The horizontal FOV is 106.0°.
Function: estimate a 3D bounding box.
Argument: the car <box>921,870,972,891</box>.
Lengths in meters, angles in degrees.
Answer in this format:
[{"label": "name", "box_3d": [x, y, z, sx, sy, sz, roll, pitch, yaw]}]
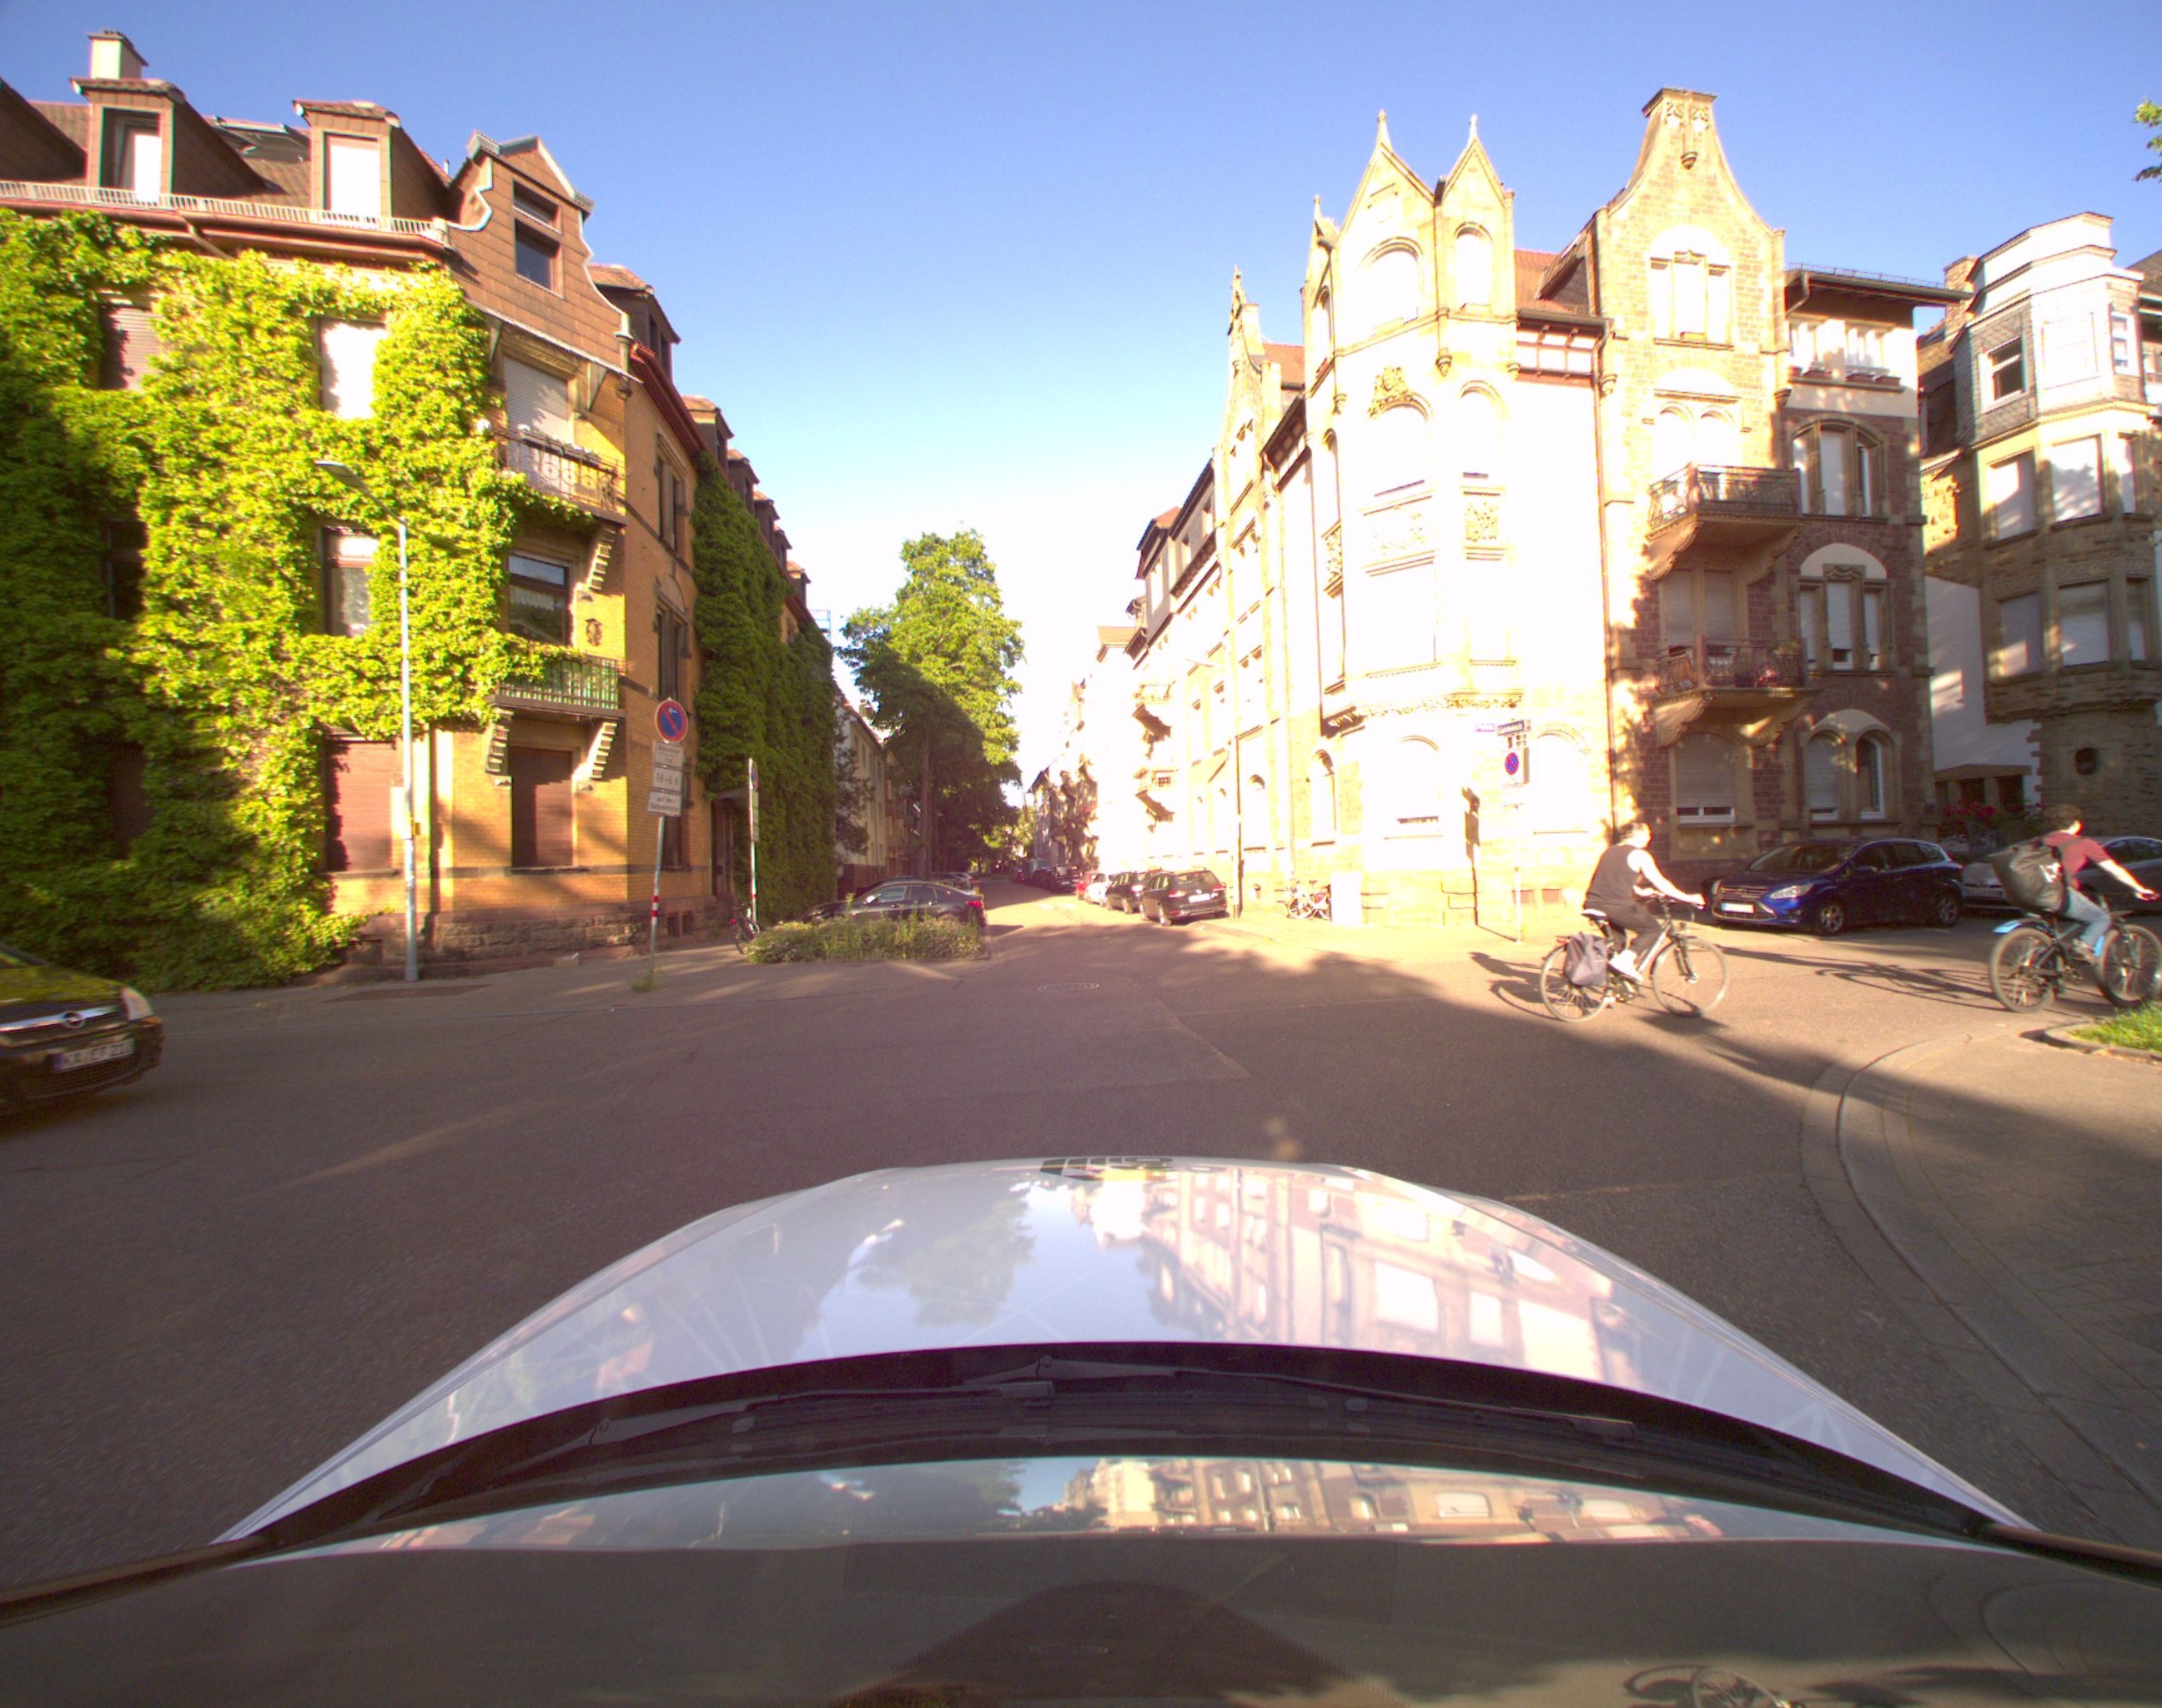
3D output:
[{"label": "car", "box_3d": [-10.166, 1.998, 61.705, 3.801, 1.575, 1.704, 0, -1, -10]}]

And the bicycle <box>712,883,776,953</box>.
[{"label": "bicycle", "box_3d": [-6.639, 1.231, 16.104, 0.561, 1.268, 1.602, -2, -1, 0]}]

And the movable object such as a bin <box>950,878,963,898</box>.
[{"label": "movable object such as a bin", "box_3d": [-6.728, 1.807, 43.913, 0.630, 1.053, 0.566, 0, -1, -14]}]

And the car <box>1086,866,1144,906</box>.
[{"label": "car", "box_3d": [1.361, 1.305, 34.078, 1.736, 1.581, 3.989, 0, -1, -8]}]

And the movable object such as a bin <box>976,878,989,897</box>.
[{"label": "movable object such as a bin", "box_3d": [-5.353, 1.812, 44.241, 0.630, 1.053, 0.566, 0, -1, -14]}]

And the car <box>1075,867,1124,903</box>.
[{"label": "car", "box_3d": [0.822, 1.433, 38.713, 1.736, 1.581, 3.989, 0, -1, -8]}]

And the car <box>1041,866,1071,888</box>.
[{"label": "car", "box_3d": [-1.869, 1.685, 59.440, 1.801, 1.514, 3.989, 0, -1, -8]}]

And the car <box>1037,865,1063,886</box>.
[{"label": "car", "box_3d": [-2.569, 1.737, 66.340, 1.801, 1.679, 3.989, 0, -1, -8]}]

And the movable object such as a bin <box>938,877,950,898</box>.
[{"label": "movable object such as a bin", "box_3d": [-7.382, 1.803, 43.812, 0.599, 1.153, 0.484, 0, -1, -14]}]

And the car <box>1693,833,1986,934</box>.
[{"label": "car", "box_3d": [13.406, 0.465, 14.467, 4.248, 1.622, 1.728, 0, 0, -13]}]

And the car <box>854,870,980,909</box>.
[{"label": "car", "box_3d": [-6.516, 1.404, 32.710, 4.834, 1.435, 1.704, 0, -1, -10]}]

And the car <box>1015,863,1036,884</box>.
[{"label": "car", "box_3d": [-6.404, 2.233, 93.222, 2.164, 2.237, 4.777, 0, -1, -8]}]

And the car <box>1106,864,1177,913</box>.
[{"label": "car", "box_3d": [2.078, 1.184, 28.954, 1.736, 1.581, 3.989, 0, -1, -8]}]

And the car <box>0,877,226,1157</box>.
[{"label": "car", "box_3d": [-8.427, 1.031, 5.060, 4.009, 1.590, 1.643, -2, 0, -12]}]

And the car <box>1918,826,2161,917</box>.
[{"label": "car", "box_3d": [18.594, 0.279, 15.435, 4.444, 1.499, 1.728, -2, 0, -13]}]

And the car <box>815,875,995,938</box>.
[{"label": "car", "box_3d": [-4.357, 1.279, 20.631, 4.243, 1.435, 1.993, 0, -1, -10]}]

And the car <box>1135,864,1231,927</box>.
[{"label": "car", "box_3d": [2.756, 1.095, 22.881, 1.736, 1.581, 3.989, 0, -1, -8]}]

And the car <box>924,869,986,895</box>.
[{"label": "car", "box_3d": [-8.067, 1.754, 52.066, 3.803, 1.575, 1.703, 0, -1, -12]}]

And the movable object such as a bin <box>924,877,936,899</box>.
[{"label": "movable object such as a bin", "box_3d": [-8.085, 1.812, 43.609, 0.634, 1.126, 0.484, 0, -1, -14]}]

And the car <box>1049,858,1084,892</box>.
[{"label": "car", "box_3d": [-0.949, 1.315, 51.292, 1.801, 2.004, 3.989, 0, -1, -8]}]

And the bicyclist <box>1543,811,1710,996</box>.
[{"label": "bicyclist", "box_3d": [4.741, 0.416, 7.135, 0.966, 1.527, 0.708, 0, -1, -2]}]

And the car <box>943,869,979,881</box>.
[{"label": "car", "box_3d": [-12.949, 2.283, 87.646, 3.801, 1.240, 1.704, 0, -1, -10]}]

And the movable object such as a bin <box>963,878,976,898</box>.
[{"label": "movable object such as a bin", "box_3d": [-6.046, 1.832, 44.111, 0.630, 1.053, 0.566, 0, -1, -14]}]

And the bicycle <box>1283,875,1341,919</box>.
[{"label": "bicycle", "box_3d": [5.496, 1.000, 19.480, 0.516, 0.998, 1.565, 0, -1, -19]}]

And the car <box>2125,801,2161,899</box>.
[{"label": "car", "box_3d": [24.231, -0.145, 16.556, 4.487, 1.974, 1.967, -2, 0, -13]}]

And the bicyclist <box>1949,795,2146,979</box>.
[{"label": "bicyclist", "box_3d": [8.512, 0.279, 7.201, 0.969, 1.527, 0.718, 0, -1, -11]}]

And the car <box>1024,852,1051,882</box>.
[{"label": "car", "box_3d": [-4.082, 1.253, 76.375, 2.164, 2.691, 4.777, 0, -1, -8]}]

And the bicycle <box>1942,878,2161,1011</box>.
[{"label": "bicycle", "box_3d": [8.753, 0.767, 7.227, 1.963, 1.073, 0.555, 0, -1, -11]}]

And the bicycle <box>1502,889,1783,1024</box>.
[{"label": "bicycle", "box_3d": [4.827, 0.861, 7.088, 1.956, 1.073, 0.698, -1, -1, -1]}]
